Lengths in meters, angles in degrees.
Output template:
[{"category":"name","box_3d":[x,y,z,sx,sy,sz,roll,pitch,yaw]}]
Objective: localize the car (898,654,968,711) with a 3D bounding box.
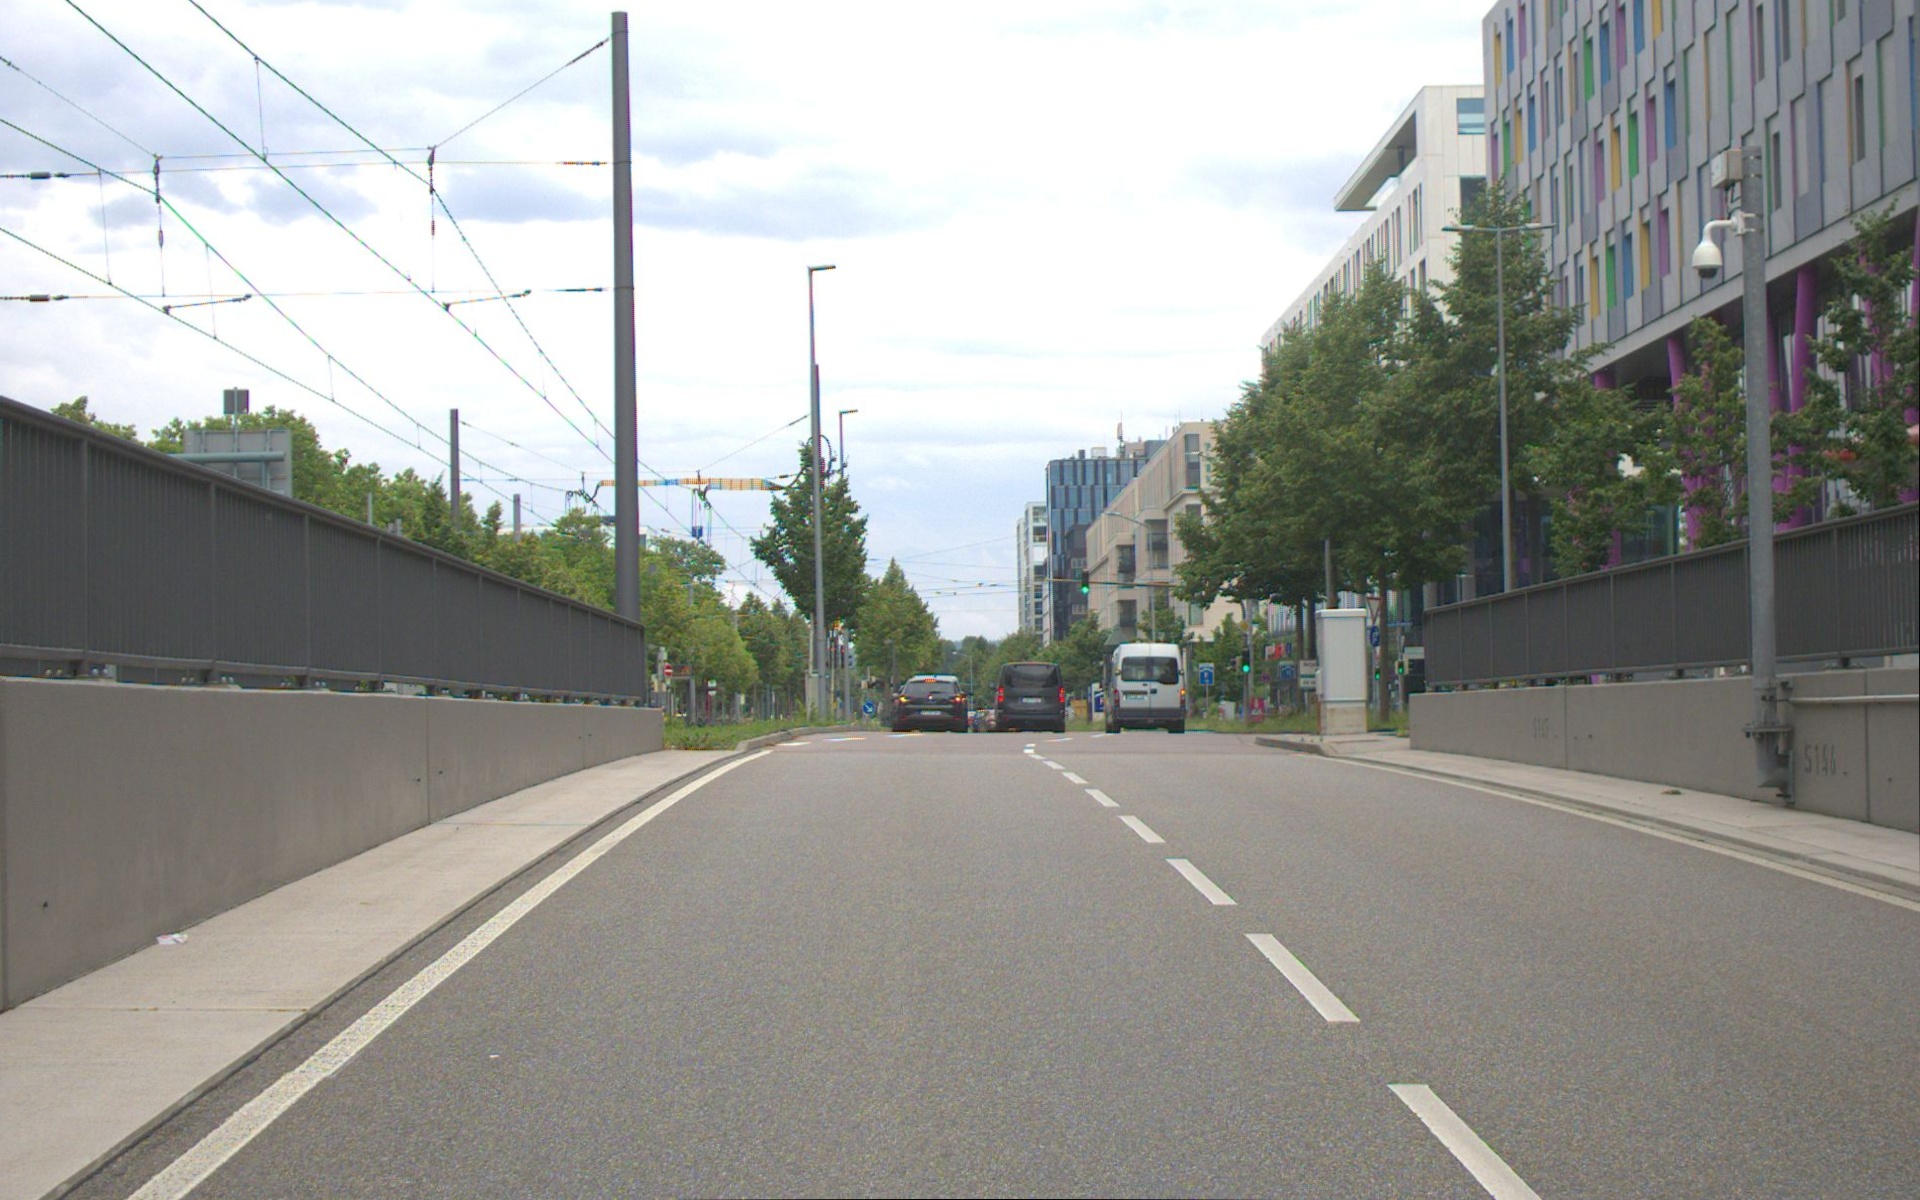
[{"category":"car","box_3d":[-0.728,2.160,89.047,1.743,1.412,4.000,1,-2,-1]}]

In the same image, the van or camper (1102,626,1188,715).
[{"category":"van or camper","box_3d":[5.053,1.894,94.307,2.109,2.348,4.922,0,0,0]}]

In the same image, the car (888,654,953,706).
[{"category":"car","box_3d":[-1.292,2.689,114.415,1.993,1.676,3.999,1,-2,2]}]

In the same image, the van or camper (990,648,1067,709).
[{"category":"van or camper","box_3d":[1.823,2.104,92.894,1.993,1.610,4.788,0,-1,0]}]
